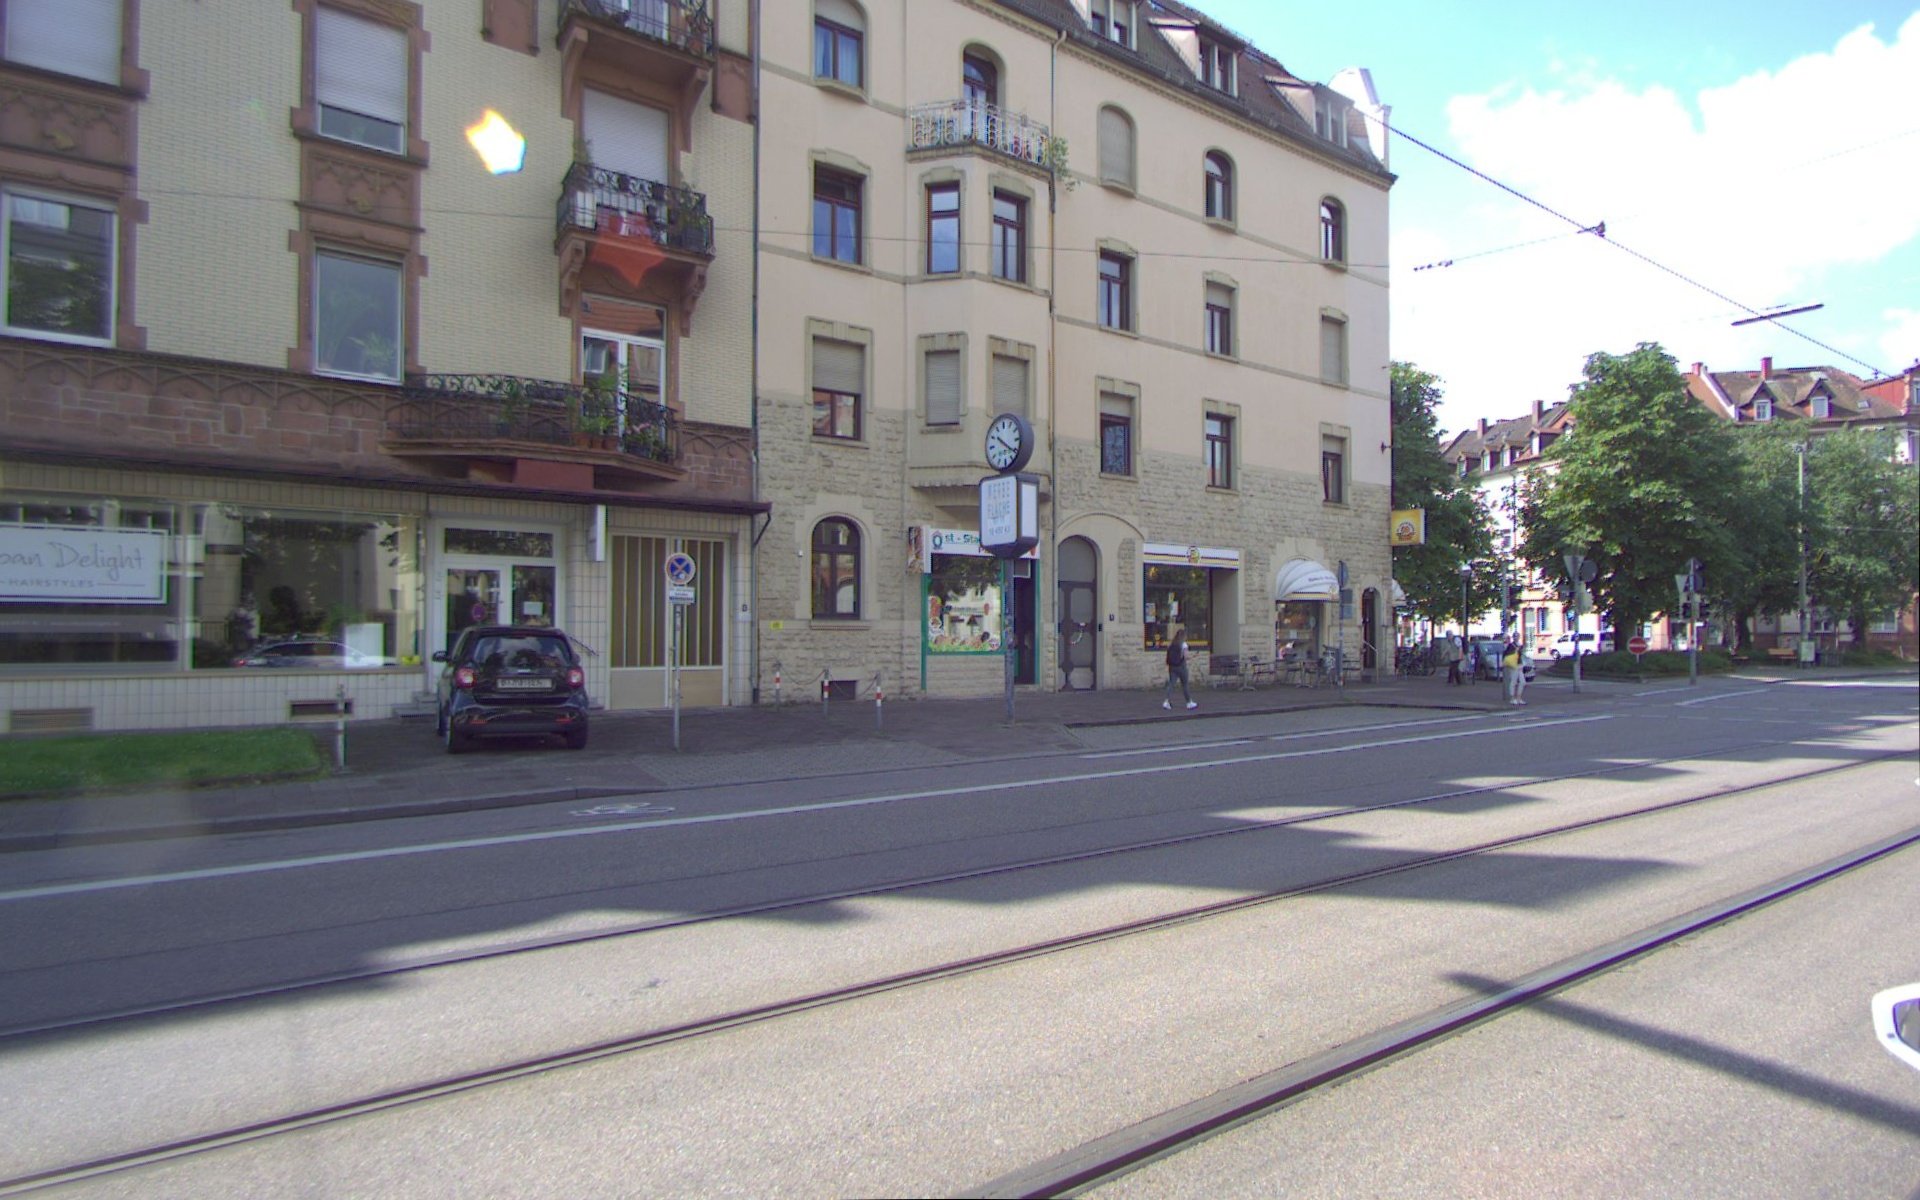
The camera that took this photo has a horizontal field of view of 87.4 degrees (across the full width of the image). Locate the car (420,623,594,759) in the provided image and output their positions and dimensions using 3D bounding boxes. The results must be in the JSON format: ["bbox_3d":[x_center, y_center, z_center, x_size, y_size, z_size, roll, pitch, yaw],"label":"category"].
[{"bbox_3d":[-6.239,1.112,13.649,1.688,1.506,3.425,1,0,-32],"label":"car"}]

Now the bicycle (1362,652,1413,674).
[{"bbox_3d":[18.551,2.725,43.594,1.990,0.894,0.512,1,-2,12],"label":"bicycle"}]

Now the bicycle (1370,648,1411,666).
[{"bbox_3d":[23.421,3.092,54.651,1.994,0.910,0.571,0,-2,29],"label":"bicycle"}]

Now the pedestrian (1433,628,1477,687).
[{"bbox_3d":[14.541,1.682,29.505,0.813,1.694,0.850,1,-2,-33],"label":"pedestrian"}]

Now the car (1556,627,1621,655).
[{"bbox_3d":[45.610,2.956,72.969,1.823,2.015,3.941,0,-2,-10],"label":"car"}]

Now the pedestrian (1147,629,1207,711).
[{"bbox_3d":[4.368,1.383,20.208,0.956,1.562,0.687,1,2,-41],"label":"pedestrian"}]

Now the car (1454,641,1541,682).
[{"bbox_3d":[19.950,2.253,37.470,1.686,1.438,3.877,0,-2,9],"label":"car"}]

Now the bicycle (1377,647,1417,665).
[{"bbox_3d":[24.055,3.081,55.298,1.994,0.910,0.571,0,-2,29],"label":"bicycle"}]

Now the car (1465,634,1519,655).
[{"bbox_3d":[43.809,3.653,82.750,1.882,1.685,3.934,0,-2,-11],"label":"car"}]

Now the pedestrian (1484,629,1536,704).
[{"bbox_3d":[13.484,1.613,24.624,0.865,1.727,0.751,1,2,-35],"label":"pedestrian"}]

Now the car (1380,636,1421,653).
[{"bbox_3d":[40.930,4.131,93.368,1.602,1.513,3.638,1,-2,-13],"label":"car"}]

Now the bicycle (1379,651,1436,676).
[{"bbox_3d":[17.682,2.516,39.754,1.990,0.894,0.523,1,-2,12],"label":"bicycle"}]
